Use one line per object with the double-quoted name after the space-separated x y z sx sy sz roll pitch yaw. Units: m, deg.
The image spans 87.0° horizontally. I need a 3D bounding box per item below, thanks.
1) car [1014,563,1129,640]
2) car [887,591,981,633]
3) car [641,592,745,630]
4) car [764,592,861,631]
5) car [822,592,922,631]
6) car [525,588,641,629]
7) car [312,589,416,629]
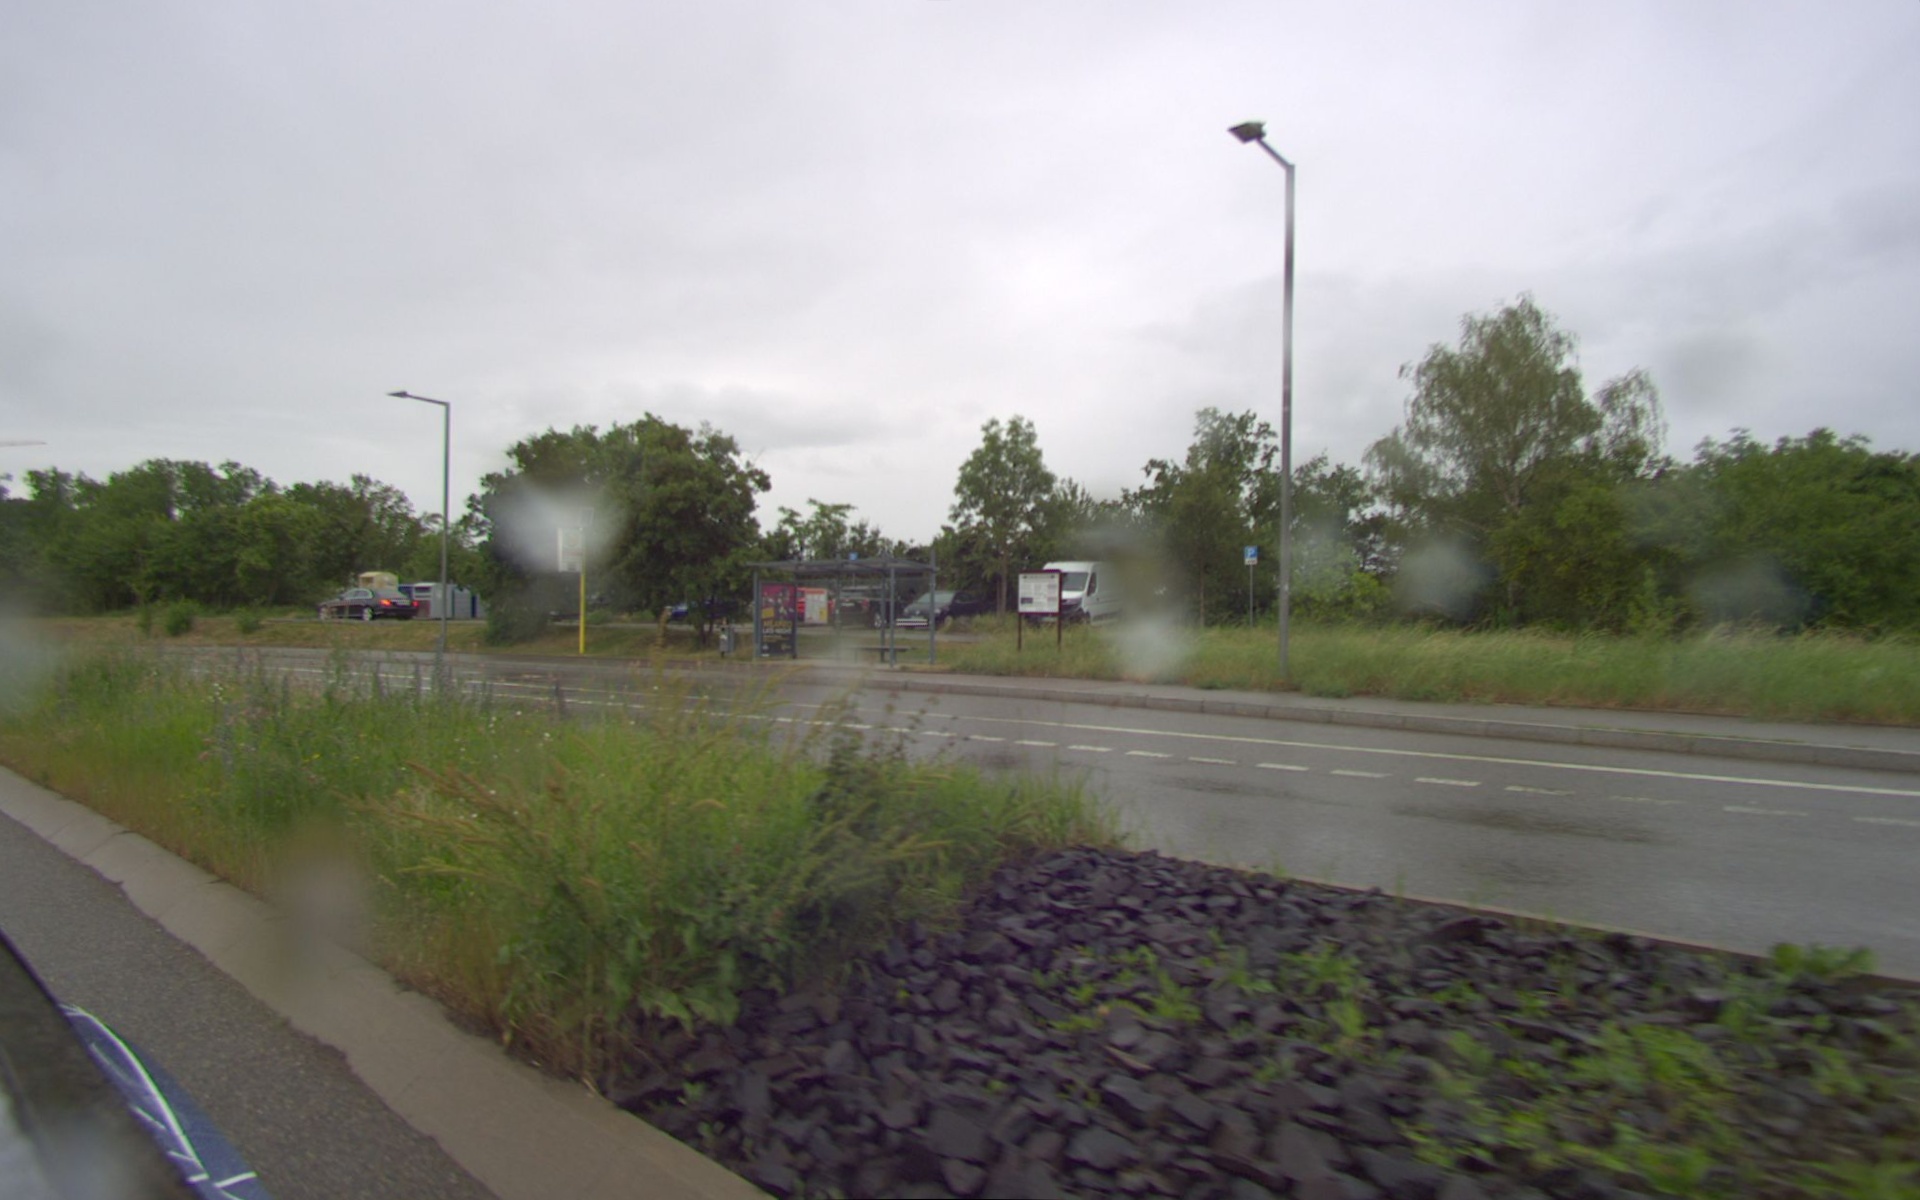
4.015 0.019 35.176 2.126 2.415 6.525 1 1 23 "car"
-0.876 0.418 36.977 1.646 1.374 3.961 0 1 29 "car"
-10.841 0.415 41.374 1.892 1.374 3.960 -1 1 29 "car"
-5.770 0.482 40.084 1.839 1.480 3.962 0 -1 28 "car"
-3.214 0.463 37.871 1.840 1.374 3.960 -1 -1 29 "car"
-16.470 0.379 44.467 1.995 1.706 4.678 0 0 27 "car"
-25.864 0.398 43.896 4.519 1.580 1.681 -2 1 27 "car"
